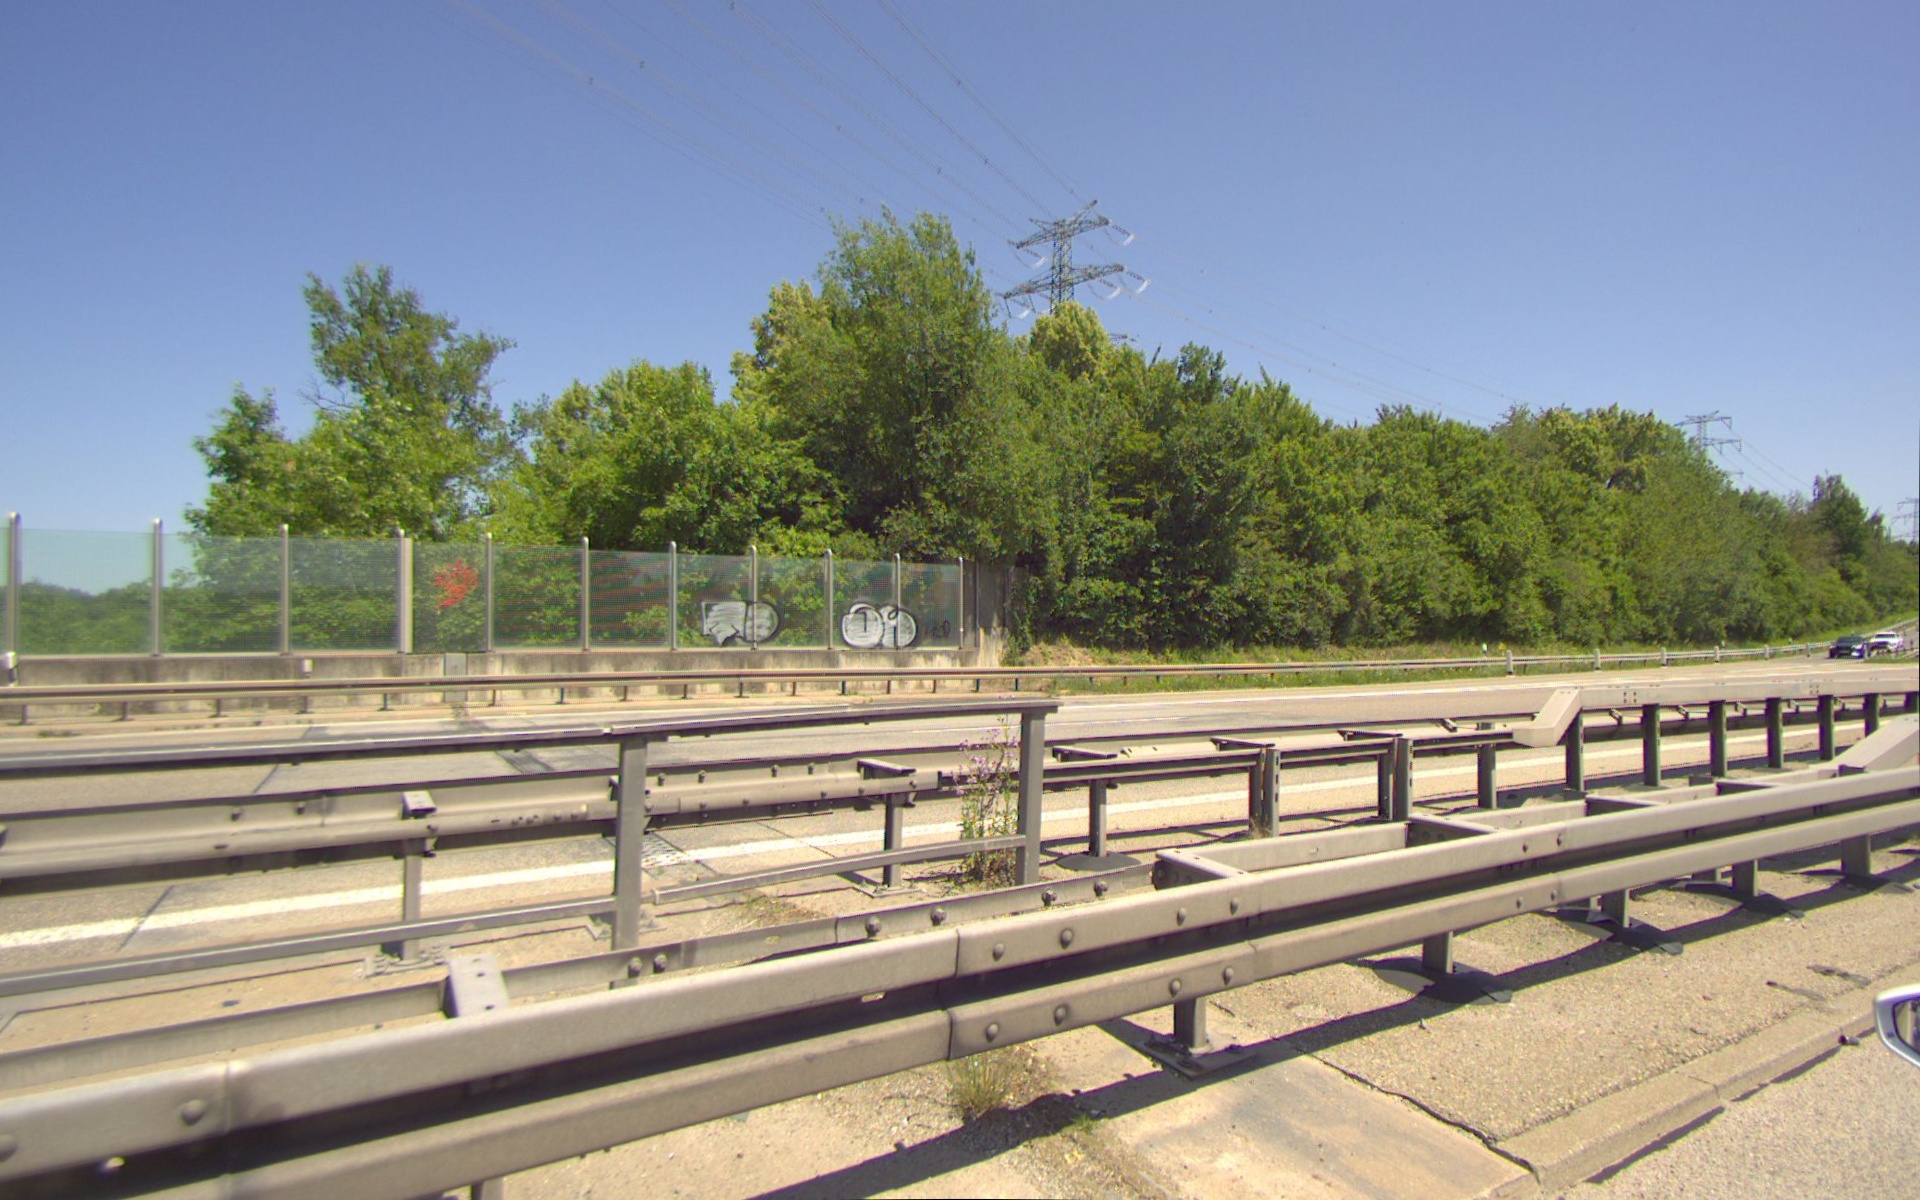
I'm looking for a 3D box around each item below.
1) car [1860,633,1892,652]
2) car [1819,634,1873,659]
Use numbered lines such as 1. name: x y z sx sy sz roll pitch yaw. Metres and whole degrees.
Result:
1. car: 75.873 3.480 83.216 1.665 1.475 4.326 2 0 39
2. car: 62.400 3.261 70.678 5.229 1.597 1.978 2 0 -39
